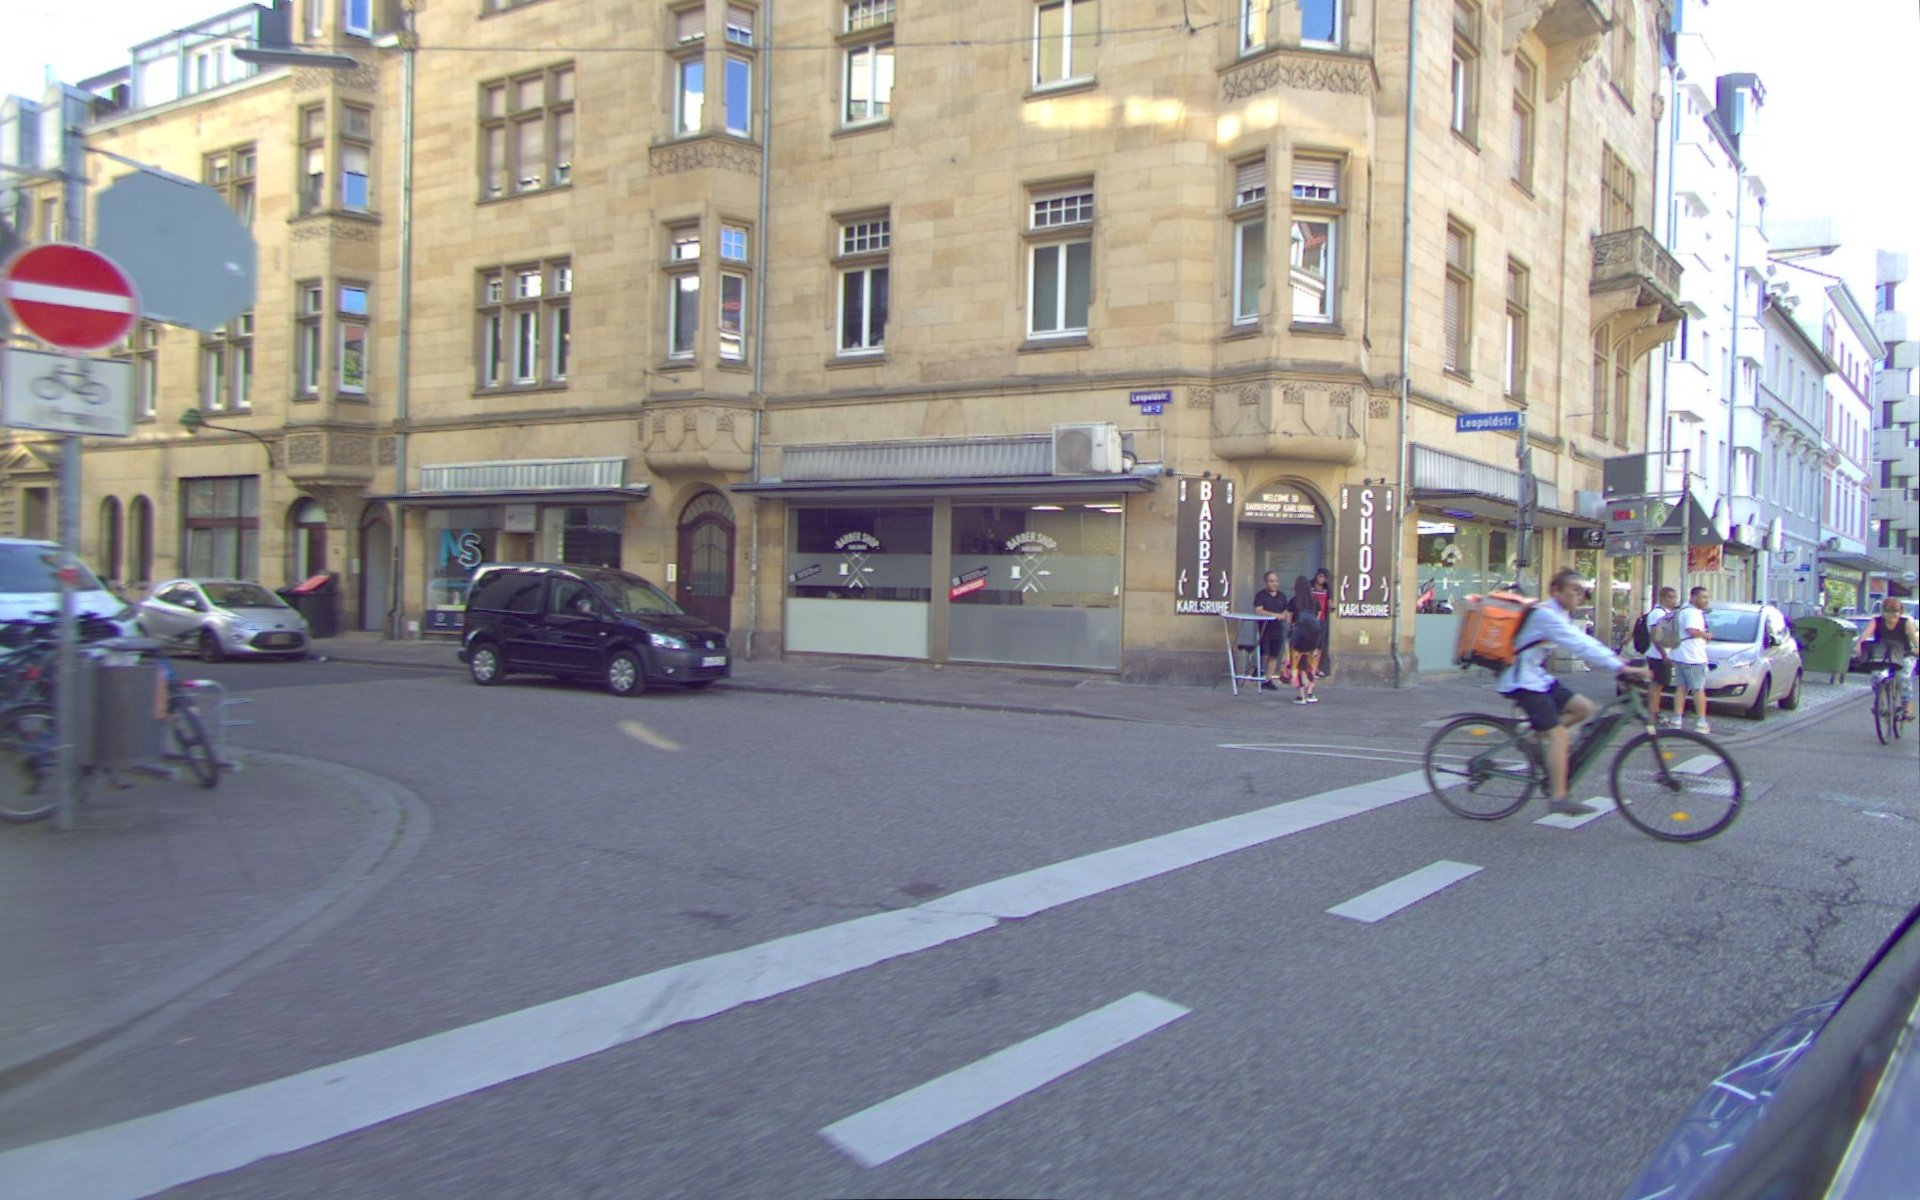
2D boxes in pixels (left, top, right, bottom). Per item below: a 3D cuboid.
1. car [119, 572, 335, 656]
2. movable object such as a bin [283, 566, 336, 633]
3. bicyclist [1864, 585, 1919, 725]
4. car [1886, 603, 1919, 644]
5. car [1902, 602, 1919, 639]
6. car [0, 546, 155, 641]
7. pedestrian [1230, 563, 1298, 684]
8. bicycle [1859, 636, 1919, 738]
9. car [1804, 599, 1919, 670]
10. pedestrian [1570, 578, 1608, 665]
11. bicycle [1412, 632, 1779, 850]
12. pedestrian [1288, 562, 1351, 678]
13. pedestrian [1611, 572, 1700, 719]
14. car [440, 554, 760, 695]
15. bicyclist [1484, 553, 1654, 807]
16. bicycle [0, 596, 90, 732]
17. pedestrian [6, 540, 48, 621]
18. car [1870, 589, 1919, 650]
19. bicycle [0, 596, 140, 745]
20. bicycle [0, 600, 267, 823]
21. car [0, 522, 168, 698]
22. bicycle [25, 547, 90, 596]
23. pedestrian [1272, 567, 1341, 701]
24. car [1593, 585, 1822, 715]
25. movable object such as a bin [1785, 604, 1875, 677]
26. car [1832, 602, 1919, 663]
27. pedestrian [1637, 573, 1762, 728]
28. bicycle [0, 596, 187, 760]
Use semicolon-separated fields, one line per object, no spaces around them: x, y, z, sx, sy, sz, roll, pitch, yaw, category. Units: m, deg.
-13.683;0.200;18.899;3.630;1.429;1.761;1;2;25;car
-14.400;-0.021;22.399;0.753;1.435;0.678;2;1;26;movable object such as a bin
11.188;0.628;11.947;0.893;1.591;0.657;1;0;-42;bicyclist
37.275;0.927;39.024;3.805;1.470;1.997;0;4;-44;car
40.850;0.907;42.179;3.889;1.470;1.997;0;4;-44;car
-19.084;-0.179;20.967;4.405;1.794;1.984;2;1;24;car
4.418;0.330;14.739;0.701;1.713;0.621;1;0;-15;pedestrian
11.223;0.996;11.985;1.804;1.081;0.666;1;0;-42;bicycle
23.849;0.854;26.584;3.931;1.593;1.997;1;3;-42;car
13.064;0.443;21.022;0.534;1.764;0.589;1;0;43;pedestrian
4.033;0.838;6.610;1.925;1.173;0.662;1;0;28;bicycle
5.388;0.290;15.180;0.701;1.713;0.500;1;0;-15;pedestrian
8.667;0.542;12.642;0.691;1.740;0.689;4;2;25;pedestrian
-5.305;0.273;14.931;4.271;1.794;1.984;2;1;24;car
3.964;0.474;6.655;0.881;1.544;0.662;1;0;27;bicyclist
-8.448;0.520;8.400;0.567;1.147;1.732;2;-2;23;bicycle
-24.025;-0.505;26.066;0.451;2.039;0.639;2;1;22;pedestrian
33.609;0.680;35.577;5.017;1.977;1.996;0;3;-44;car
-7.661;0.538;7.889;0.566;1.147;1.914;2;-2;19;bicycle
-5.334;0.604;6.351;0.564;1.176;1.740;2;0;8;bicycle
-12.596;0.047;12.740;4.898;1.953;2.101;2;1;24;car
-23.941;-0.761;26.851;1.844;1.229;0.562;2;1;24;bicycle
4.589;0.432;13.424;0.663;1.712;0.619;1;2;2;pedestrian
11.435;0.658;15.388;4.056;1.593;1.977;1;3;-42;car
19.057;0.860;22.166;1.385;1.439;1.149;1;4;-38;movable object such as a bin
26.901;0.906;29.268;3.931;1.509;1.997;1;3;-42;car
8.710;0.584;11.936;0.876;1.740;0.697;2;2;-18;pedestrian
-7.059;0.564;7.569;0.566;1.176;2.004;2;-2;19;bicycle
